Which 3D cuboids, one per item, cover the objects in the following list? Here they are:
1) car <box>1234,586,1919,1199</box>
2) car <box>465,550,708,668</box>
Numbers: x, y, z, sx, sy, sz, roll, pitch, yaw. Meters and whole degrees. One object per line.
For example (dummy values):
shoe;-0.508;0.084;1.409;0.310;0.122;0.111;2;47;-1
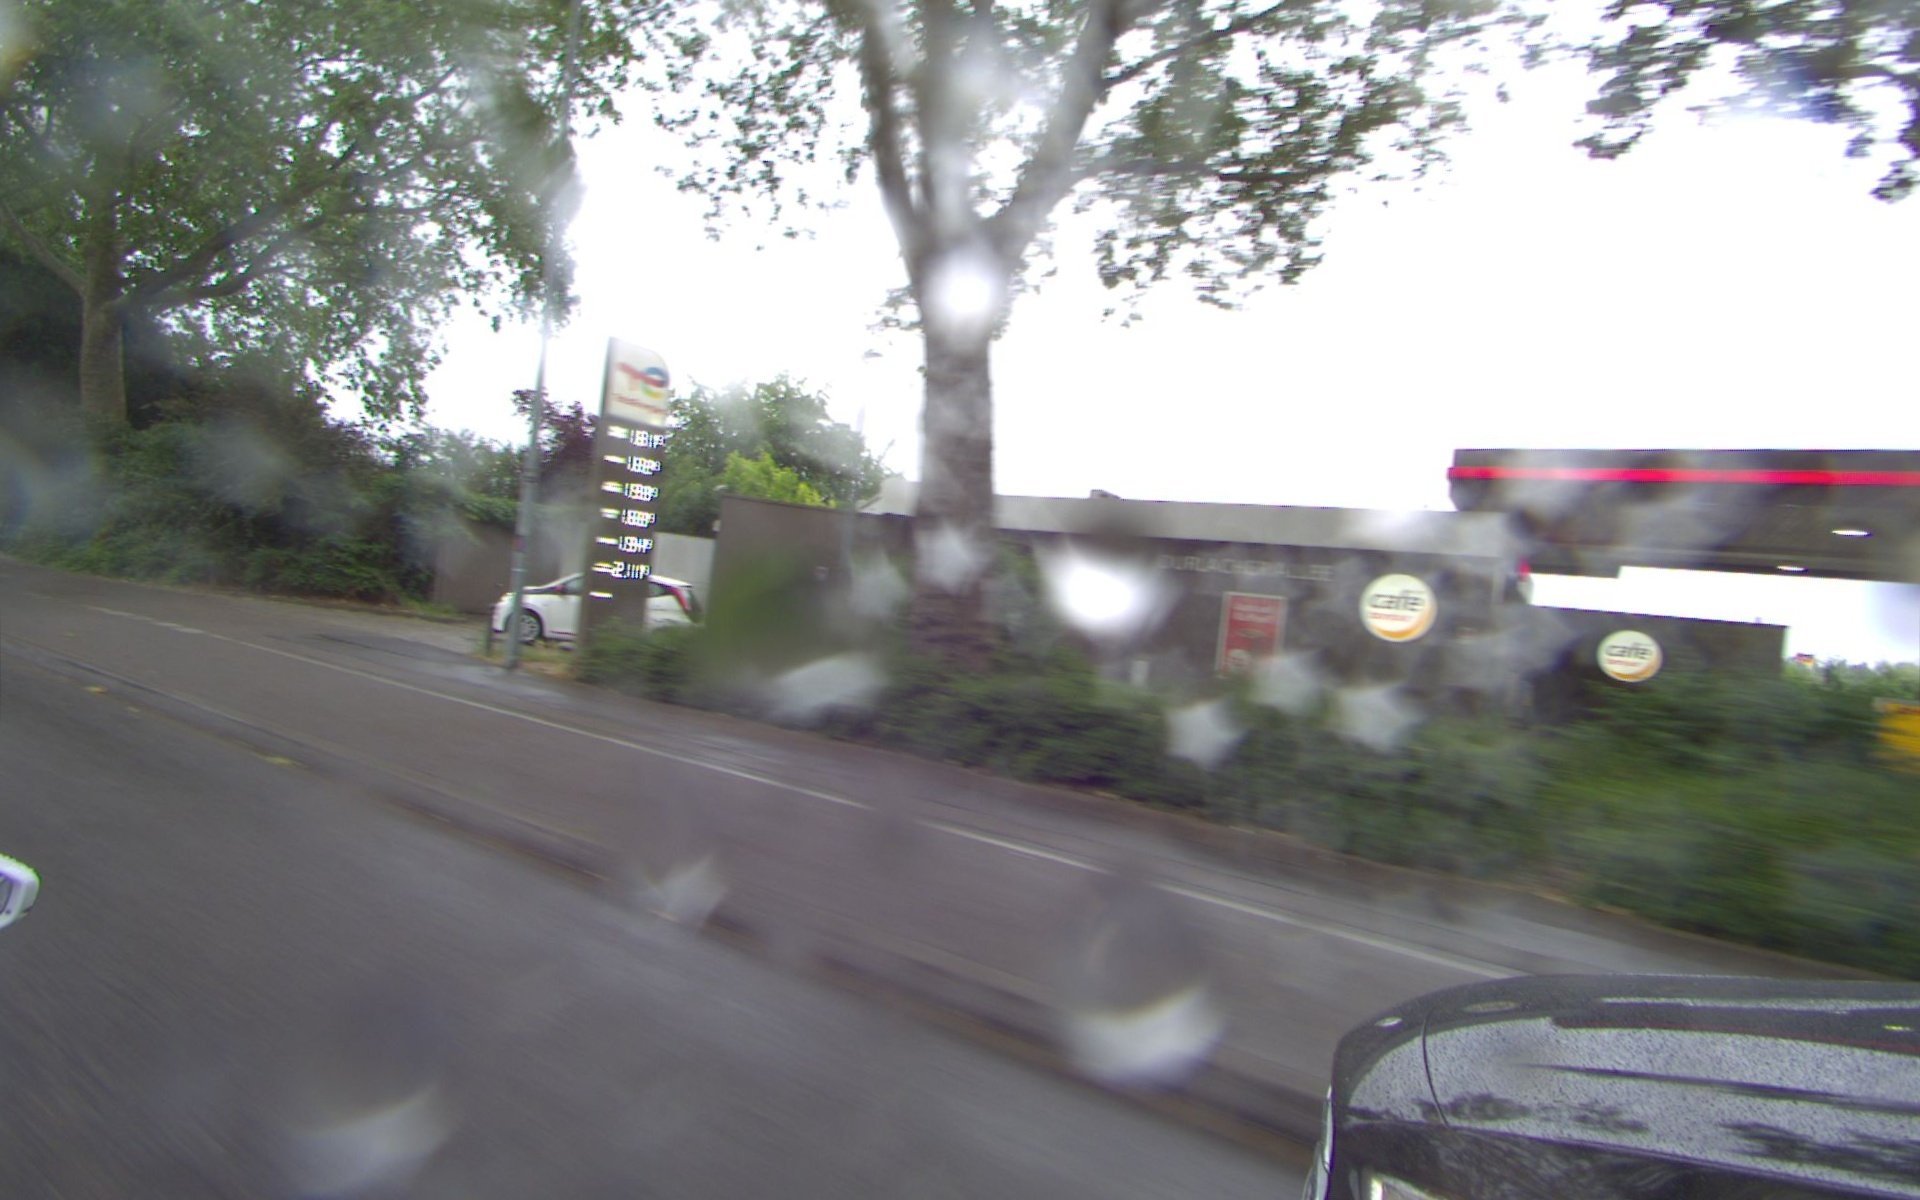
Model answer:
car;2.671;1.038;0.996;4.348;1.546;1.822;6;-4;31
car;-6.258;0.176;17.195;3.497;1.448;1.606;8;-2;-10
